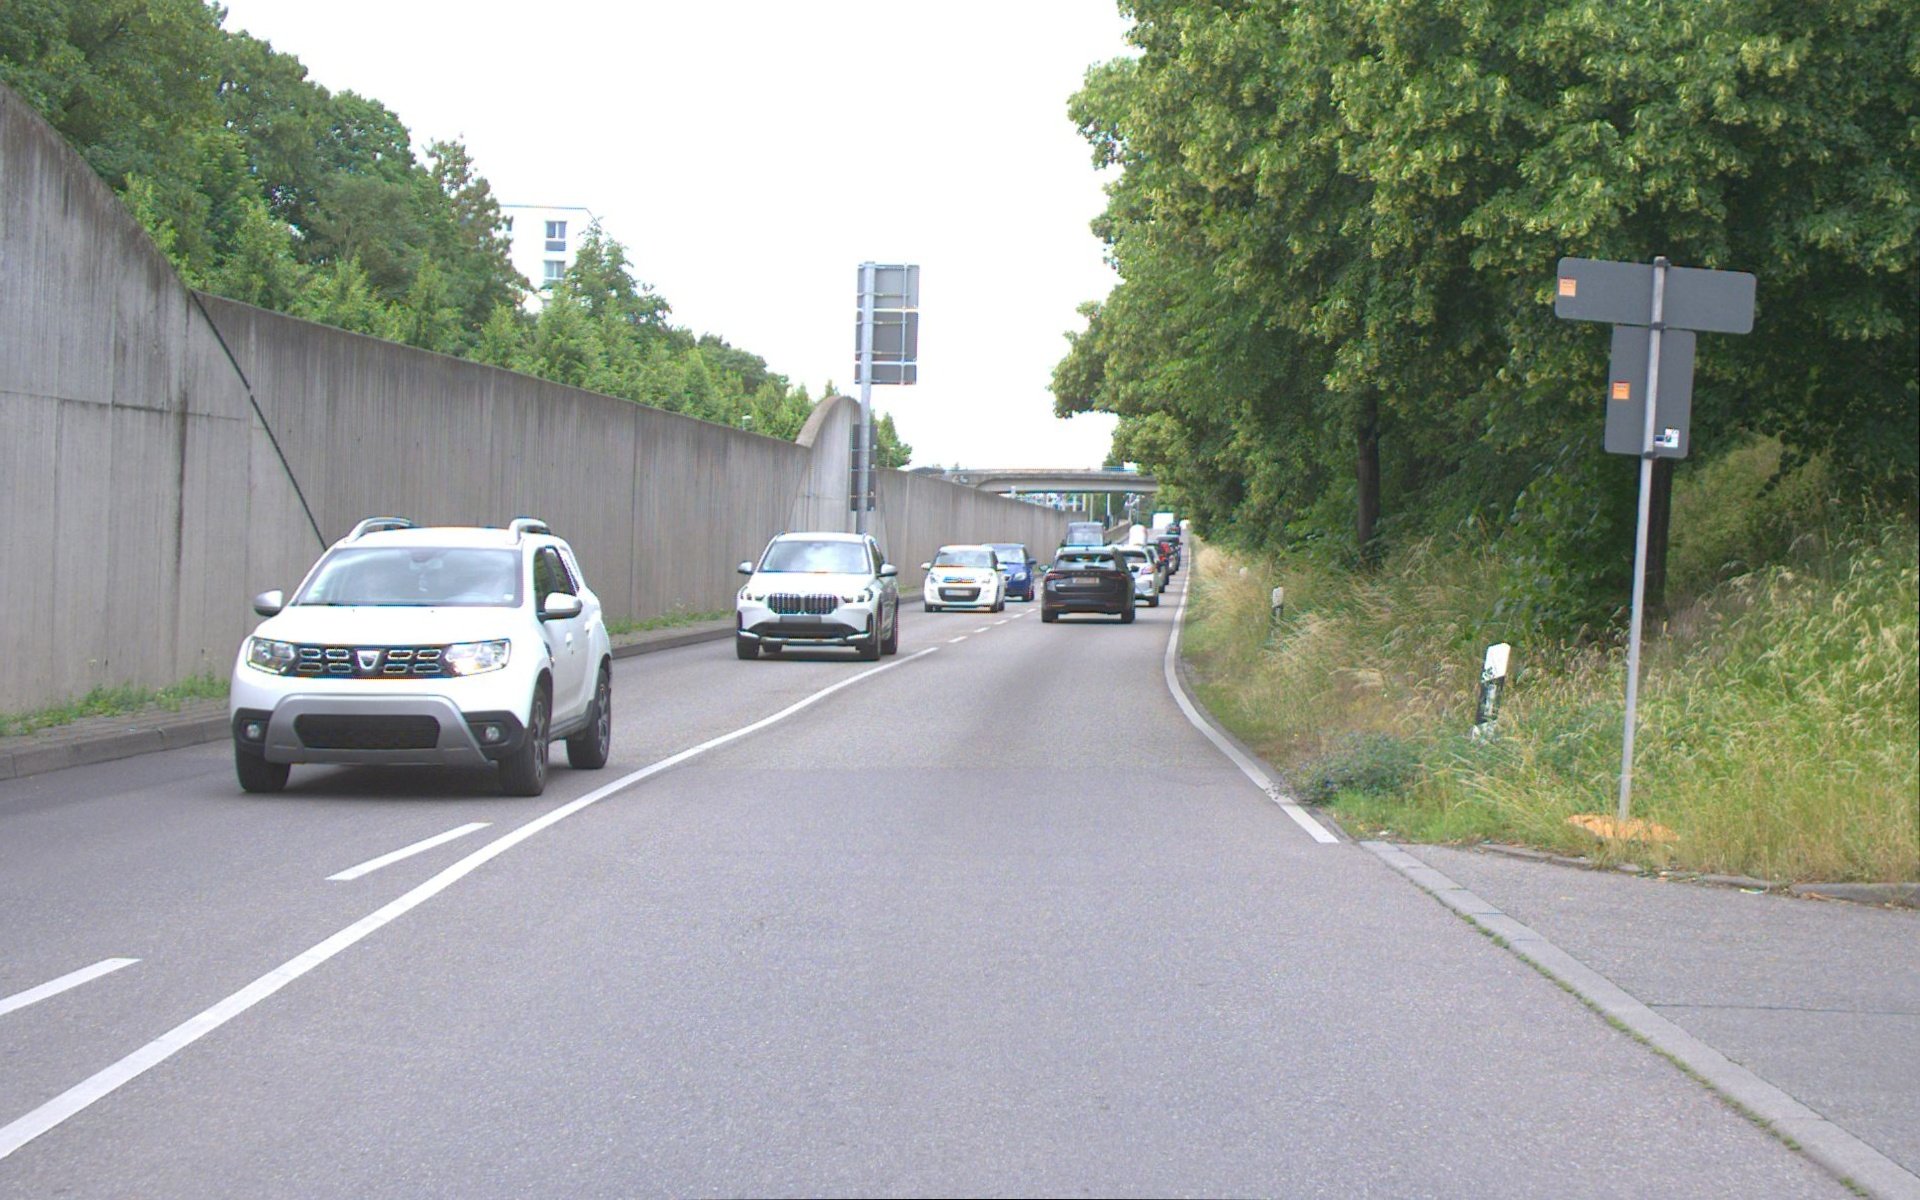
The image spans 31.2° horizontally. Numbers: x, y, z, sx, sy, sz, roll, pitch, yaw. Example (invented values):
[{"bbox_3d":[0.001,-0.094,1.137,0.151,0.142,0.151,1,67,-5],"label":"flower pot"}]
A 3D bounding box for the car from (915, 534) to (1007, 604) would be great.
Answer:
[{"bbox_3d":[0.043,-0.707,76.645,1.915,1.490,4.208,1,1,1],"label":"car"}]

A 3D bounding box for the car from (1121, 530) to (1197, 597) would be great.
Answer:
[{"bbox_3d":[4.879,-0.875,83.936,1.754,1.518,4.035,1,-1,5],"label":"car"}]

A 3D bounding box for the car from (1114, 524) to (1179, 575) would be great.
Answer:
[{"bbox_3d":[5.873,-1.583,108.595,1.867,1.485,4.257,4,1,2],"label":"car"}]

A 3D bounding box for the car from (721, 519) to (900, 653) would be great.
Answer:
[{"bbox_3d":[-1.907,-0.210,45.090,1.890,1.626,4.426,1,1,3],"label":"car"}]

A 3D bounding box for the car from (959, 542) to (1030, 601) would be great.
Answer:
[{"bbox_3d":[0.932,-0.762,91.030,1.767,1.490,4.208,1,1,1],"label":"car"}]

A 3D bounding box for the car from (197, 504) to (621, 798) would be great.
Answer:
[{"bbox_3d":[-3.333,0.253,21.593,1.862,1.626,4.208,1,1,1],"label":"car"}]

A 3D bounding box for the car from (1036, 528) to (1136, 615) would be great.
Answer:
[{"bbox_3d":[2.485,-0.522,66.868,1.754,1.518,4.035,-2,-1,4],"label":"car"}]
